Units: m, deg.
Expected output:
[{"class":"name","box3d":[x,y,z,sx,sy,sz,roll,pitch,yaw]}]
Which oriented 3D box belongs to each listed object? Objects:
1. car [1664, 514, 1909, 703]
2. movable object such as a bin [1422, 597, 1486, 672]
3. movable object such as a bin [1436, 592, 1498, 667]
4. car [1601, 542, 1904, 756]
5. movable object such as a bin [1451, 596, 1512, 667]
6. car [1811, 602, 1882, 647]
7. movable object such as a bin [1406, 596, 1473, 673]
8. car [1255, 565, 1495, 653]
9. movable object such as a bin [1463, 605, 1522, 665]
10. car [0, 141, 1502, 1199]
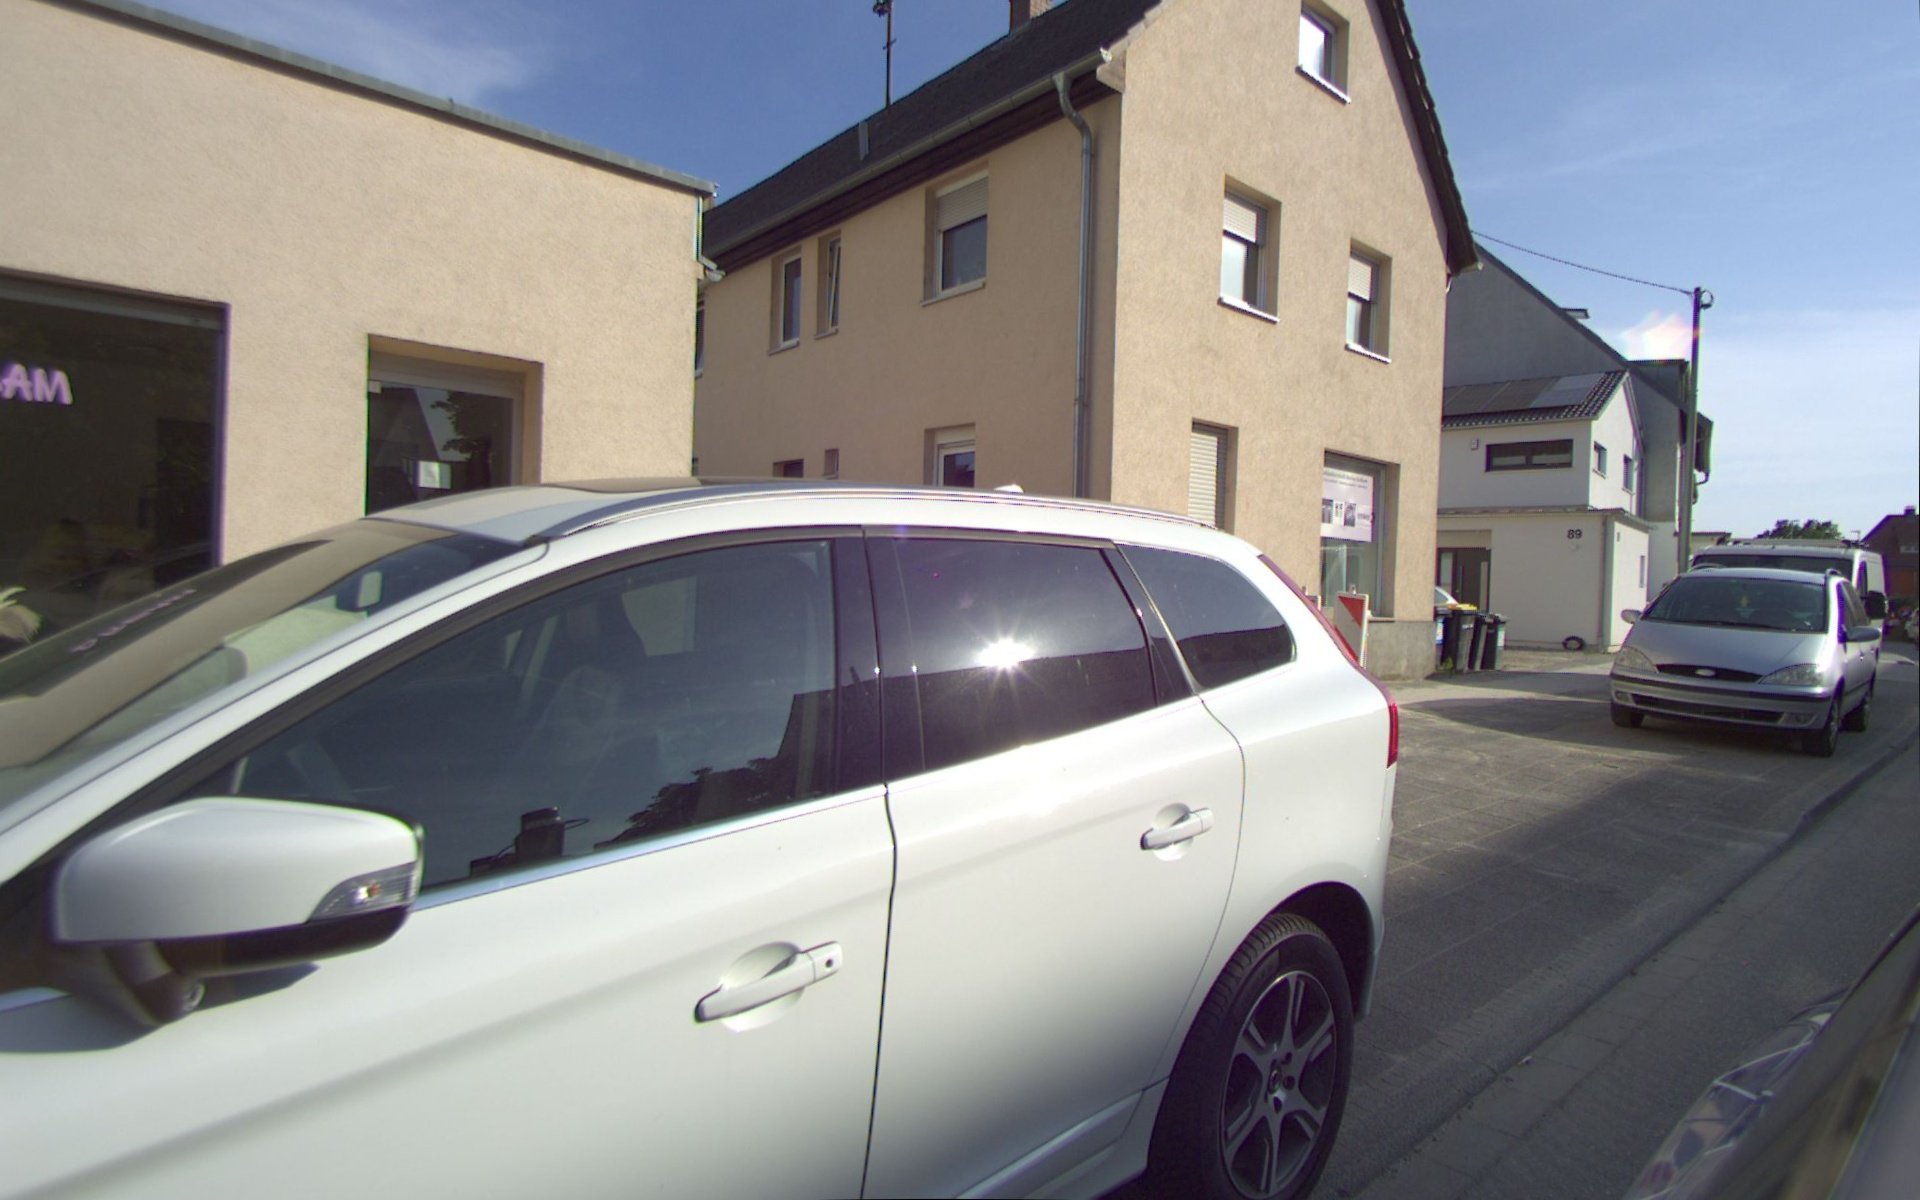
[{"class":"car","box3d":[12.448,0.078,15.108,4.914,2.356,2.177,1,2,-44]},{"class":"movable object such as a bin","box3d":[7.680,0.518,15.739,0.544,1.107,0.729,1,1,-43]},{"class":"movable object such as a bin","box3d":[8.122,0.455,16.205,0.544,1.146,0.729,1,1,-43]},{"class":"car","box3d":[8.455,0.387,10.644,4.407,1.762,1.780,1,3,-43]},{"class":"movable object such as a bin","box3d":[8.558,0.506,16.625,0.544,1.107,0.729,1,1,-43]},{"class":"car","box3d":[32.049,0.842,36.662,1.604,1.438,3.867,3,2,37]},{"class":"movable object such as a bin","box3d":[7.253,0.507,15.314,0.615,1.107,0.729,1,1,-43]},{"class":"car","box3d":[7.661,0.161,18.723,3.895,1.424,1.666,2,2,-18]},{"class":"movable object such as a bin","box3d":[8.962,0.574,17.028,0.544,0.971,0.729,1,1,-43]},{"class":"car","box3d":[-0.796,0.435,2.005,4.399,1.704,1.816,0,4,-42]}]
